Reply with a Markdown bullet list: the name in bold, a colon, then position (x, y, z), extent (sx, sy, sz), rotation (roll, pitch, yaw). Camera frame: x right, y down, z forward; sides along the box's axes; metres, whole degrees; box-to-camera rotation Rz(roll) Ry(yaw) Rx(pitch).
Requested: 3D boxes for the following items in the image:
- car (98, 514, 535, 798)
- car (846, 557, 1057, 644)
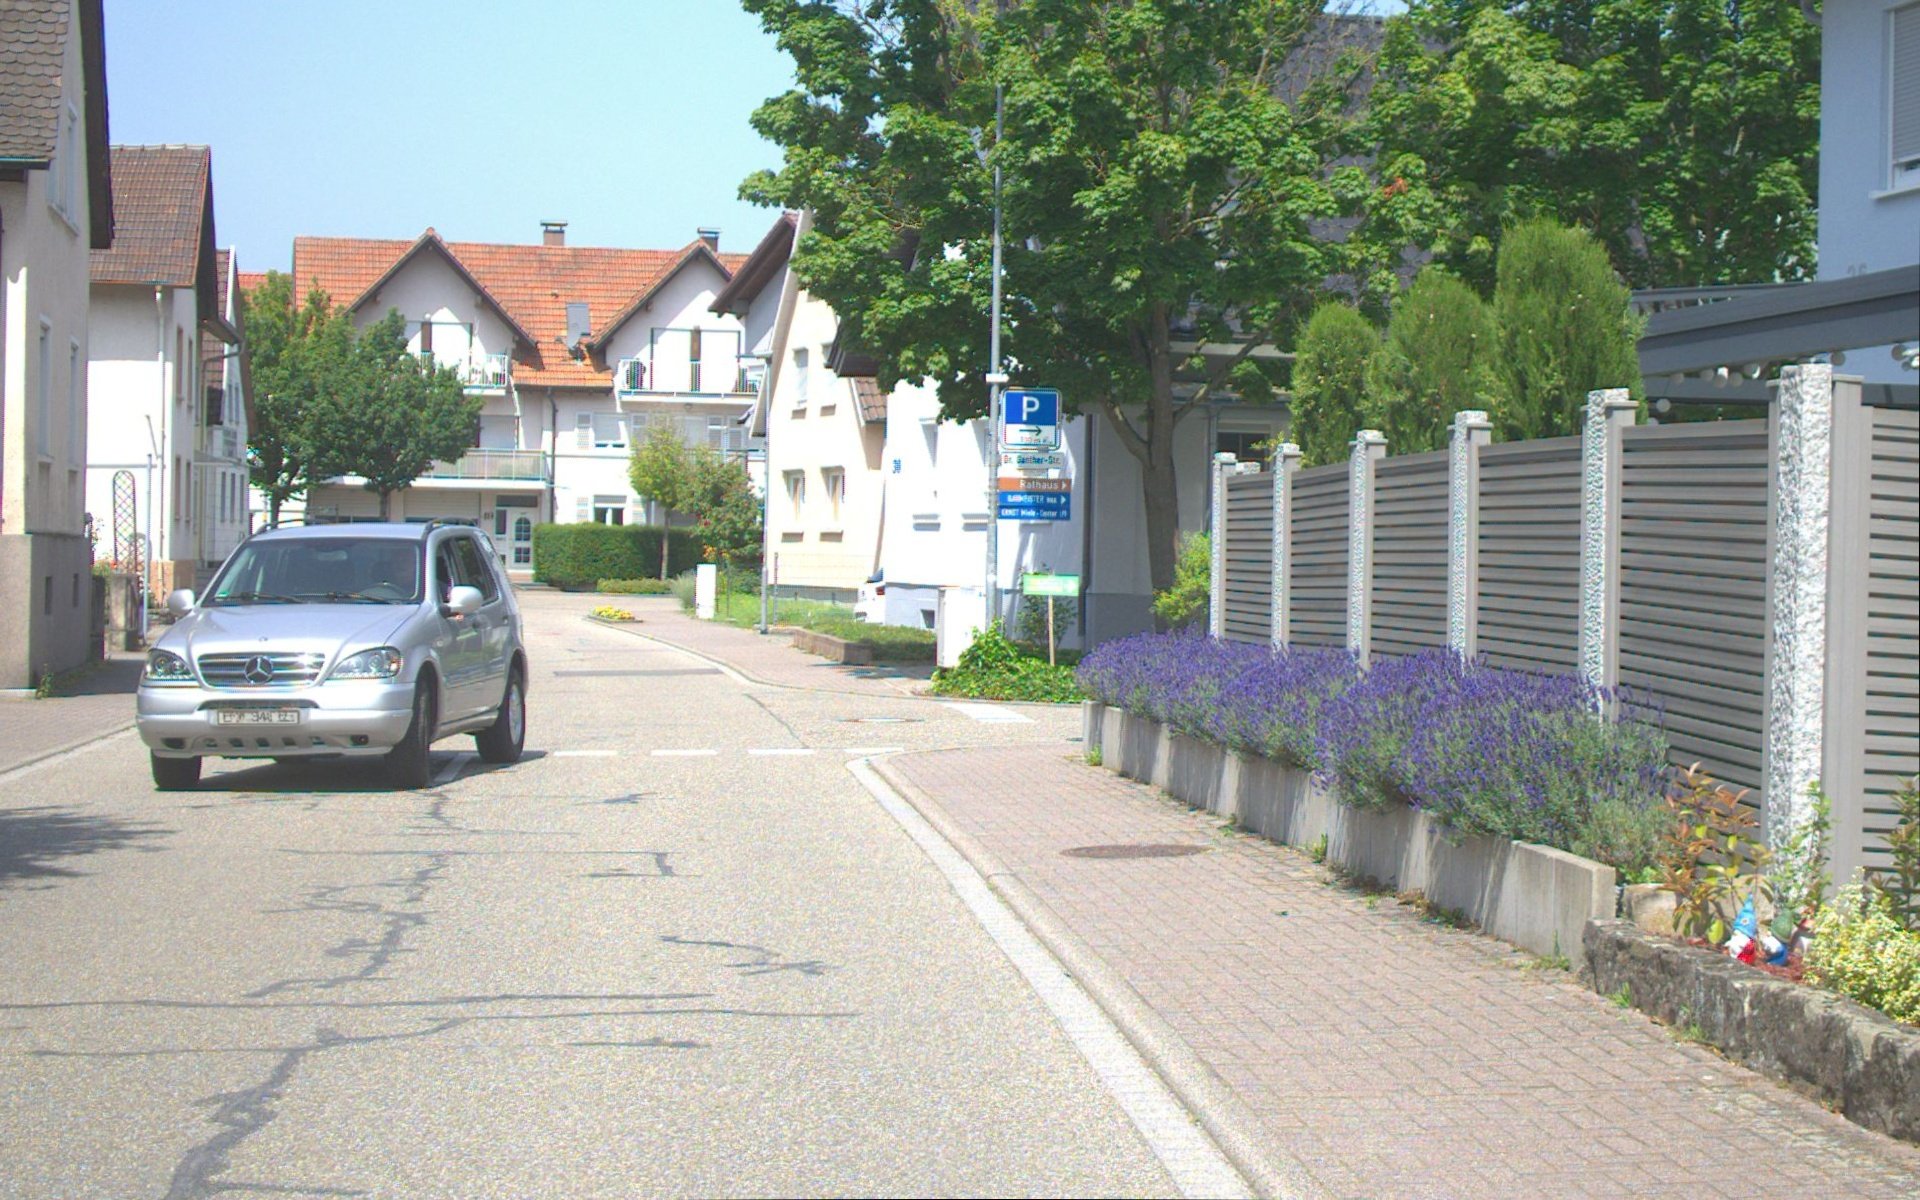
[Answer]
- **car**: position (-4.272, 0.316, 23.546), extent (1.886, 1.761, 4.330), rotation (0, 1, 4)
- **car**: position (-0.146, 0.013, 54.014), extent (3.042, 1.341, 1.423), rotation (0, 0, -16)
